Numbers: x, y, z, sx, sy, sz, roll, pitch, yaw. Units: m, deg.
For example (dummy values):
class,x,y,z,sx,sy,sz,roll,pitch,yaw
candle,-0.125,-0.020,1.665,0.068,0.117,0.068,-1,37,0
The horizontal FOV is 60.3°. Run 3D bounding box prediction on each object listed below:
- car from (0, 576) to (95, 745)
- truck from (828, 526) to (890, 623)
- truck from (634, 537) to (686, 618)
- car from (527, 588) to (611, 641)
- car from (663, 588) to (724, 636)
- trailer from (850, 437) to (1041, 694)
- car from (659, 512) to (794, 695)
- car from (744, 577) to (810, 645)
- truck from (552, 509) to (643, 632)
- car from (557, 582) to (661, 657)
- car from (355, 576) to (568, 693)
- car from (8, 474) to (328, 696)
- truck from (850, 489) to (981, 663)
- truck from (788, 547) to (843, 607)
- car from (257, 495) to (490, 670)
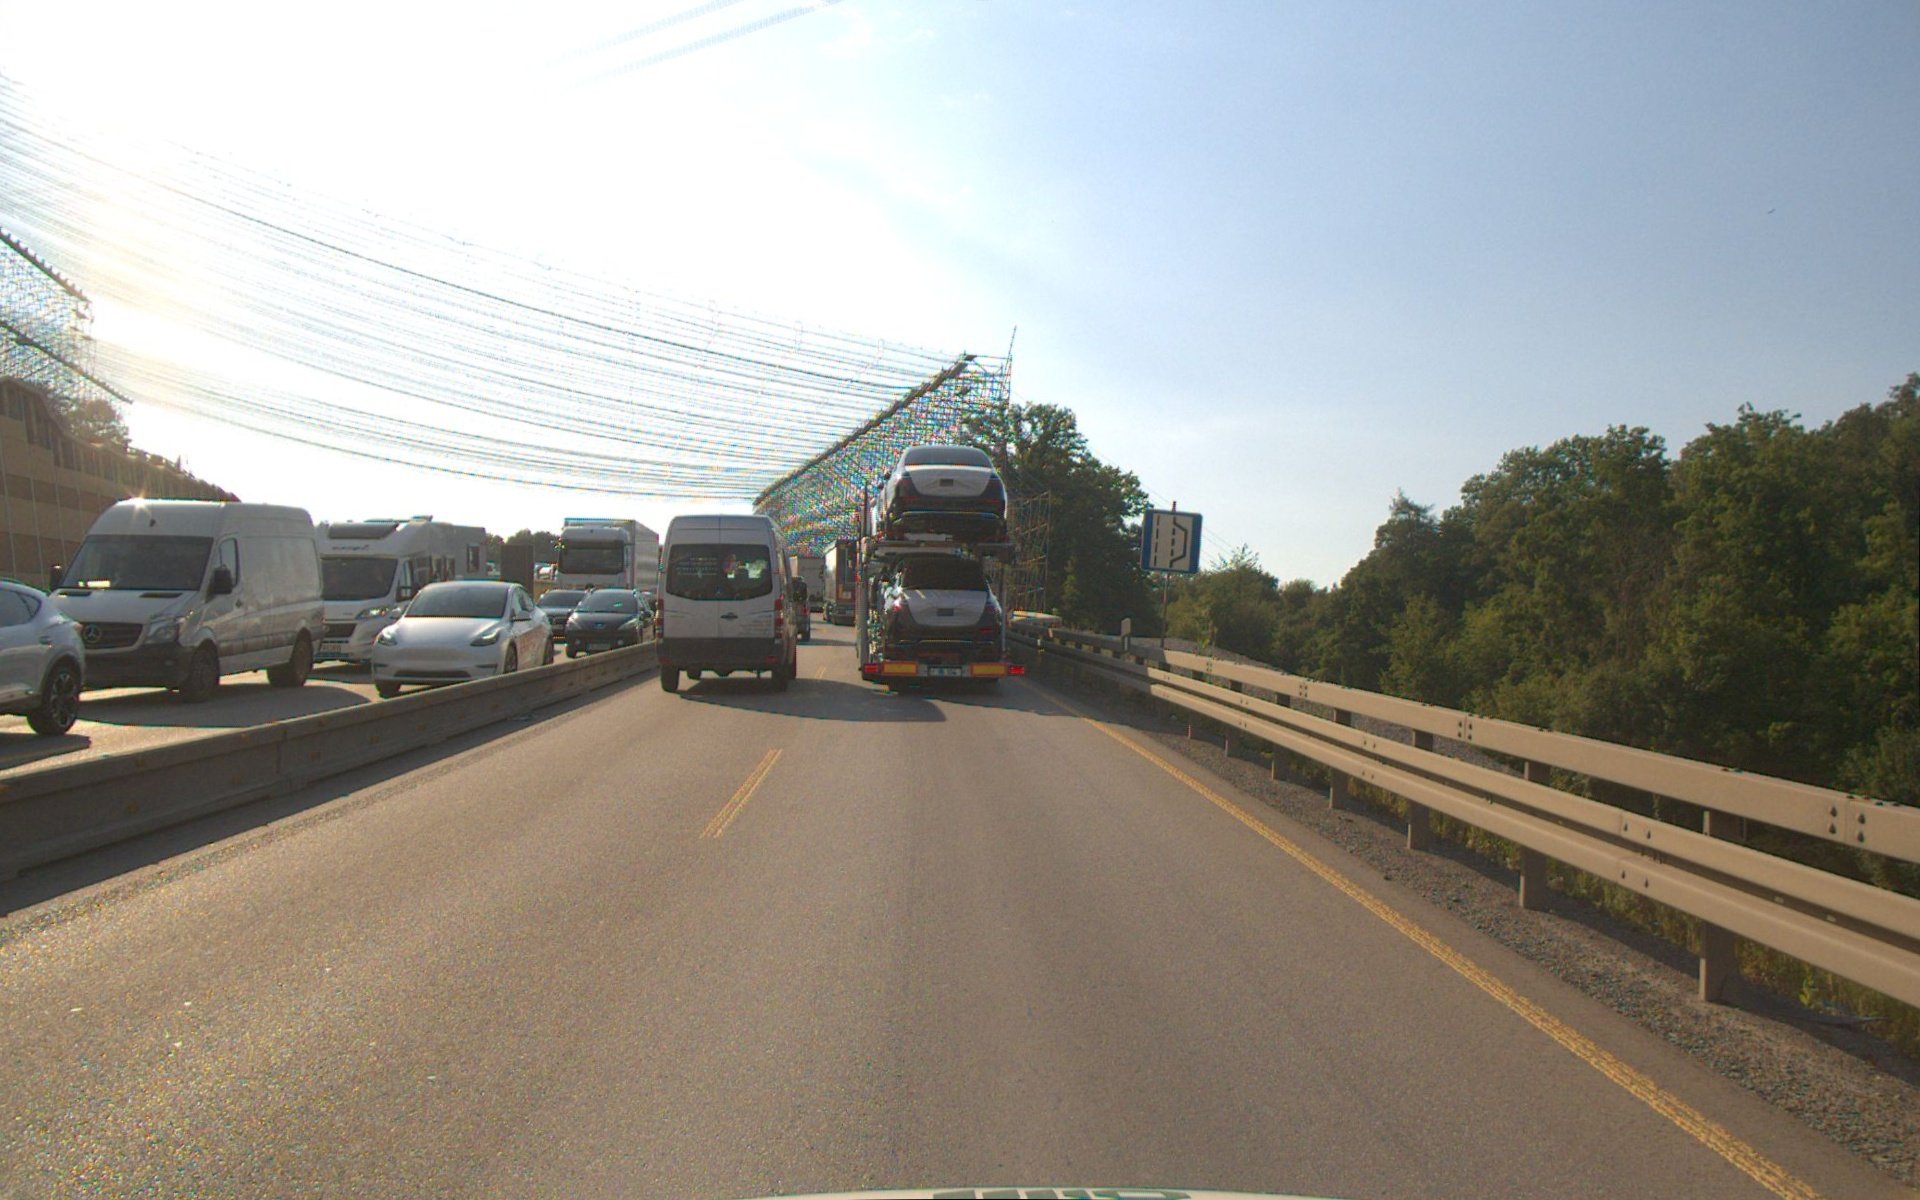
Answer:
class,x,y,z,sx,sy,sz,roll,pitch,yaw
car,-9.650,0.539,14.850,1.728,1.550,4.001,1,0,-2
truck,-5.188,-1.237,83.113,2.679,4.462,11.509,2,0,-5
truck,-16.891,-1.237,93.398,2.694,4.375,5.922,1,0,-8
car,-11.525,0.424,49.026,1.709,1.486,4.709,0,0,-5
car,-9.898,0.426,61.797,1.781,1.606,4.752,-1,1,-4
trailer,-0.692,-0.516,32.092,2.812,3.790,14.935,1,0,-4
car,-3.622,0.056,26.238,1.918,2.666,3.995,0,0,-5
car,-5.738,0.343,52.289,1.955,2.049,3.995,1,0,-5
truck,-13.266,-1.045,60.858,2.661,4.292,5.674,1,0,-7
car,-8.084,0.404,38.421,1.747,1.548,3.997,2,1,-4
car,-7.484,0.448,25.364,2.017,1.512,4.724,-2,1,-3
car,-10.659,-0.171,22.852,1.917,2.666,5.745,0,0,-3
truck,-1.175,-0.518,39.737,2.824,3.767,7.320,1,0,-3
truck,-11.361,-1.827,128.953,3.617,4.294,13.646,-2,1,-7
car,-11.080,-0.284,32.014,2.288,2.969,7.626,0,0,-4
